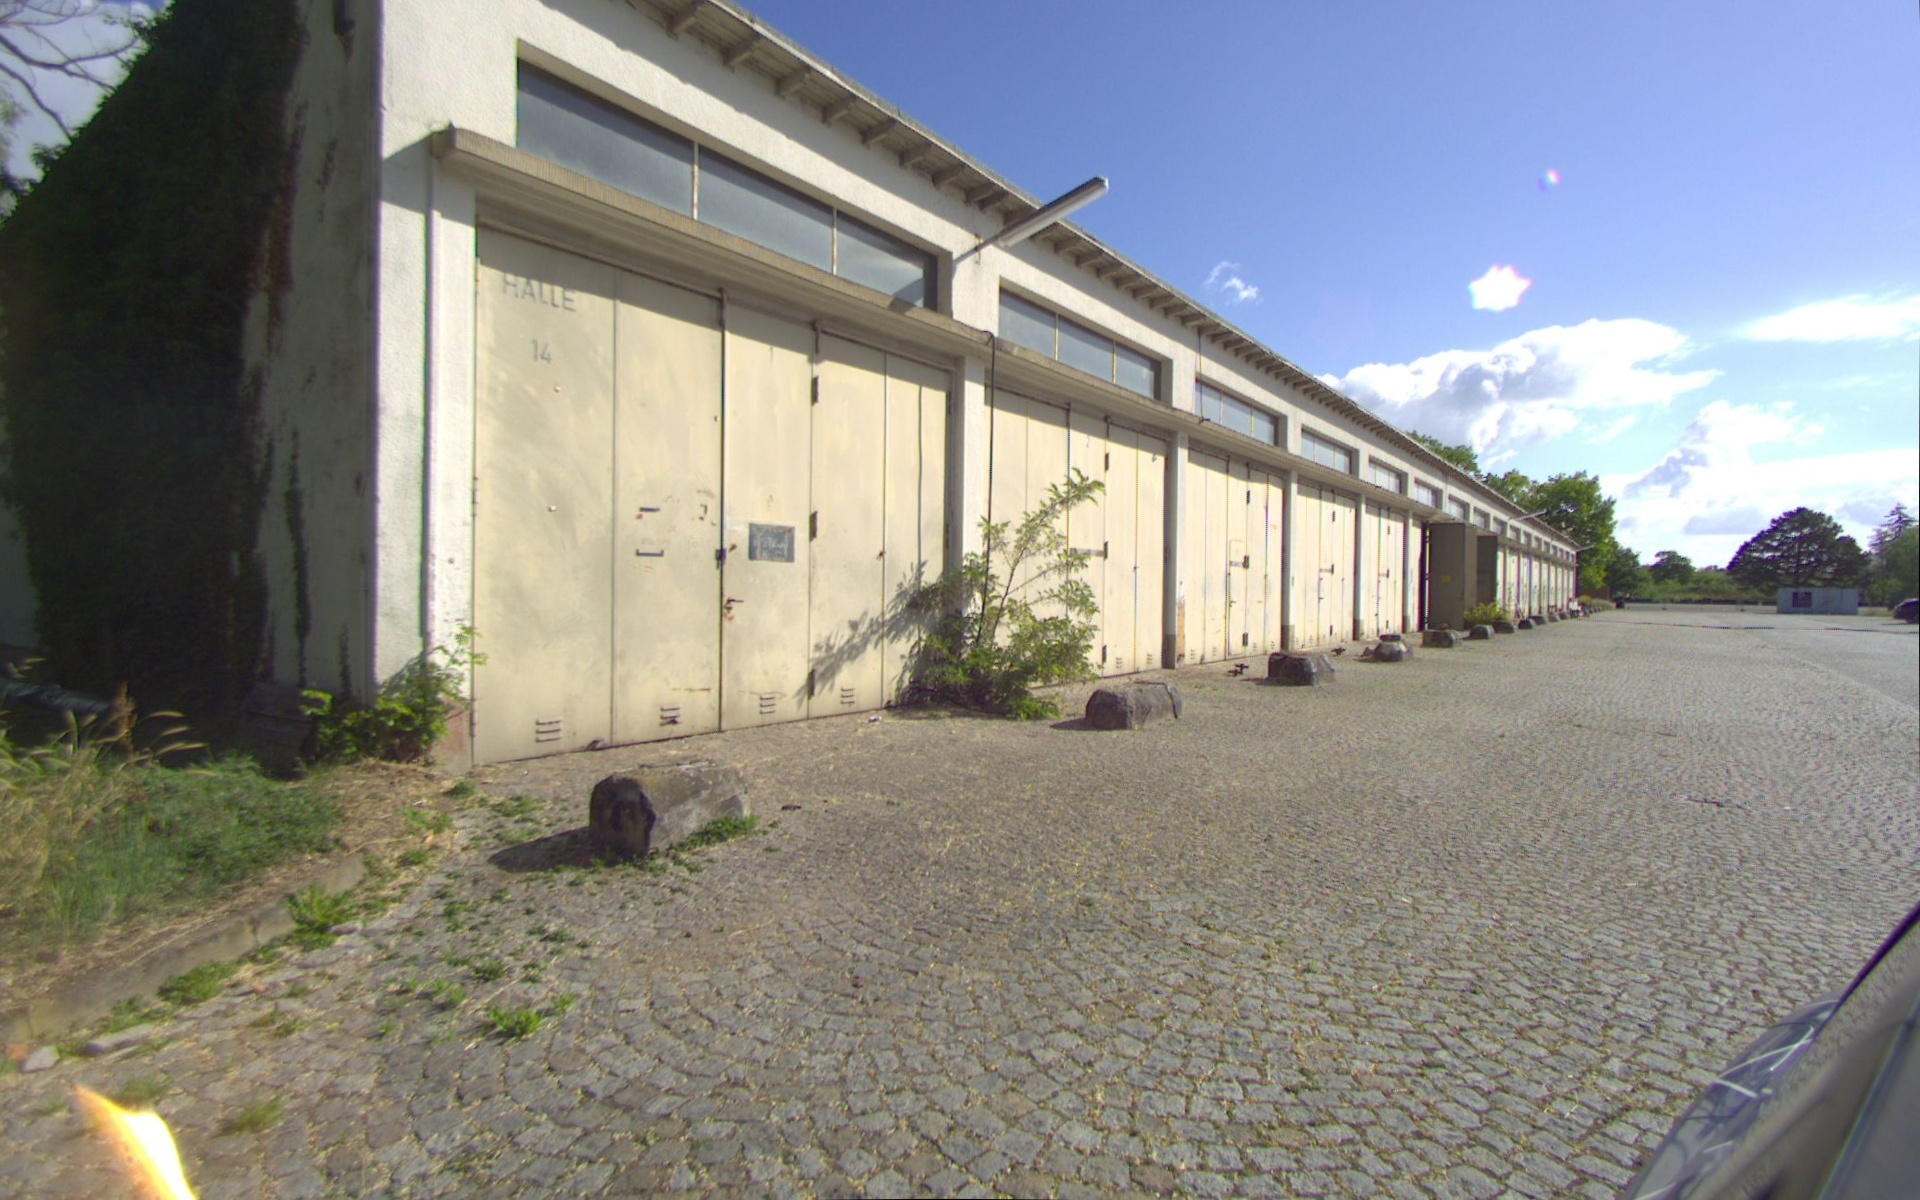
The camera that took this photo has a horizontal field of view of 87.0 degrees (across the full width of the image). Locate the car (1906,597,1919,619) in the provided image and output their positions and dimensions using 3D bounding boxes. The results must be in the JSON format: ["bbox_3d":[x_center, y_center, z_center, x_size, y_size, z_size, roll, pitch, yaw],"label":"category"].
[{"bbox_3d":[57.984,0.472,59.065,3.850,1.282,1.571,1,0,34],"label":"car"}]
